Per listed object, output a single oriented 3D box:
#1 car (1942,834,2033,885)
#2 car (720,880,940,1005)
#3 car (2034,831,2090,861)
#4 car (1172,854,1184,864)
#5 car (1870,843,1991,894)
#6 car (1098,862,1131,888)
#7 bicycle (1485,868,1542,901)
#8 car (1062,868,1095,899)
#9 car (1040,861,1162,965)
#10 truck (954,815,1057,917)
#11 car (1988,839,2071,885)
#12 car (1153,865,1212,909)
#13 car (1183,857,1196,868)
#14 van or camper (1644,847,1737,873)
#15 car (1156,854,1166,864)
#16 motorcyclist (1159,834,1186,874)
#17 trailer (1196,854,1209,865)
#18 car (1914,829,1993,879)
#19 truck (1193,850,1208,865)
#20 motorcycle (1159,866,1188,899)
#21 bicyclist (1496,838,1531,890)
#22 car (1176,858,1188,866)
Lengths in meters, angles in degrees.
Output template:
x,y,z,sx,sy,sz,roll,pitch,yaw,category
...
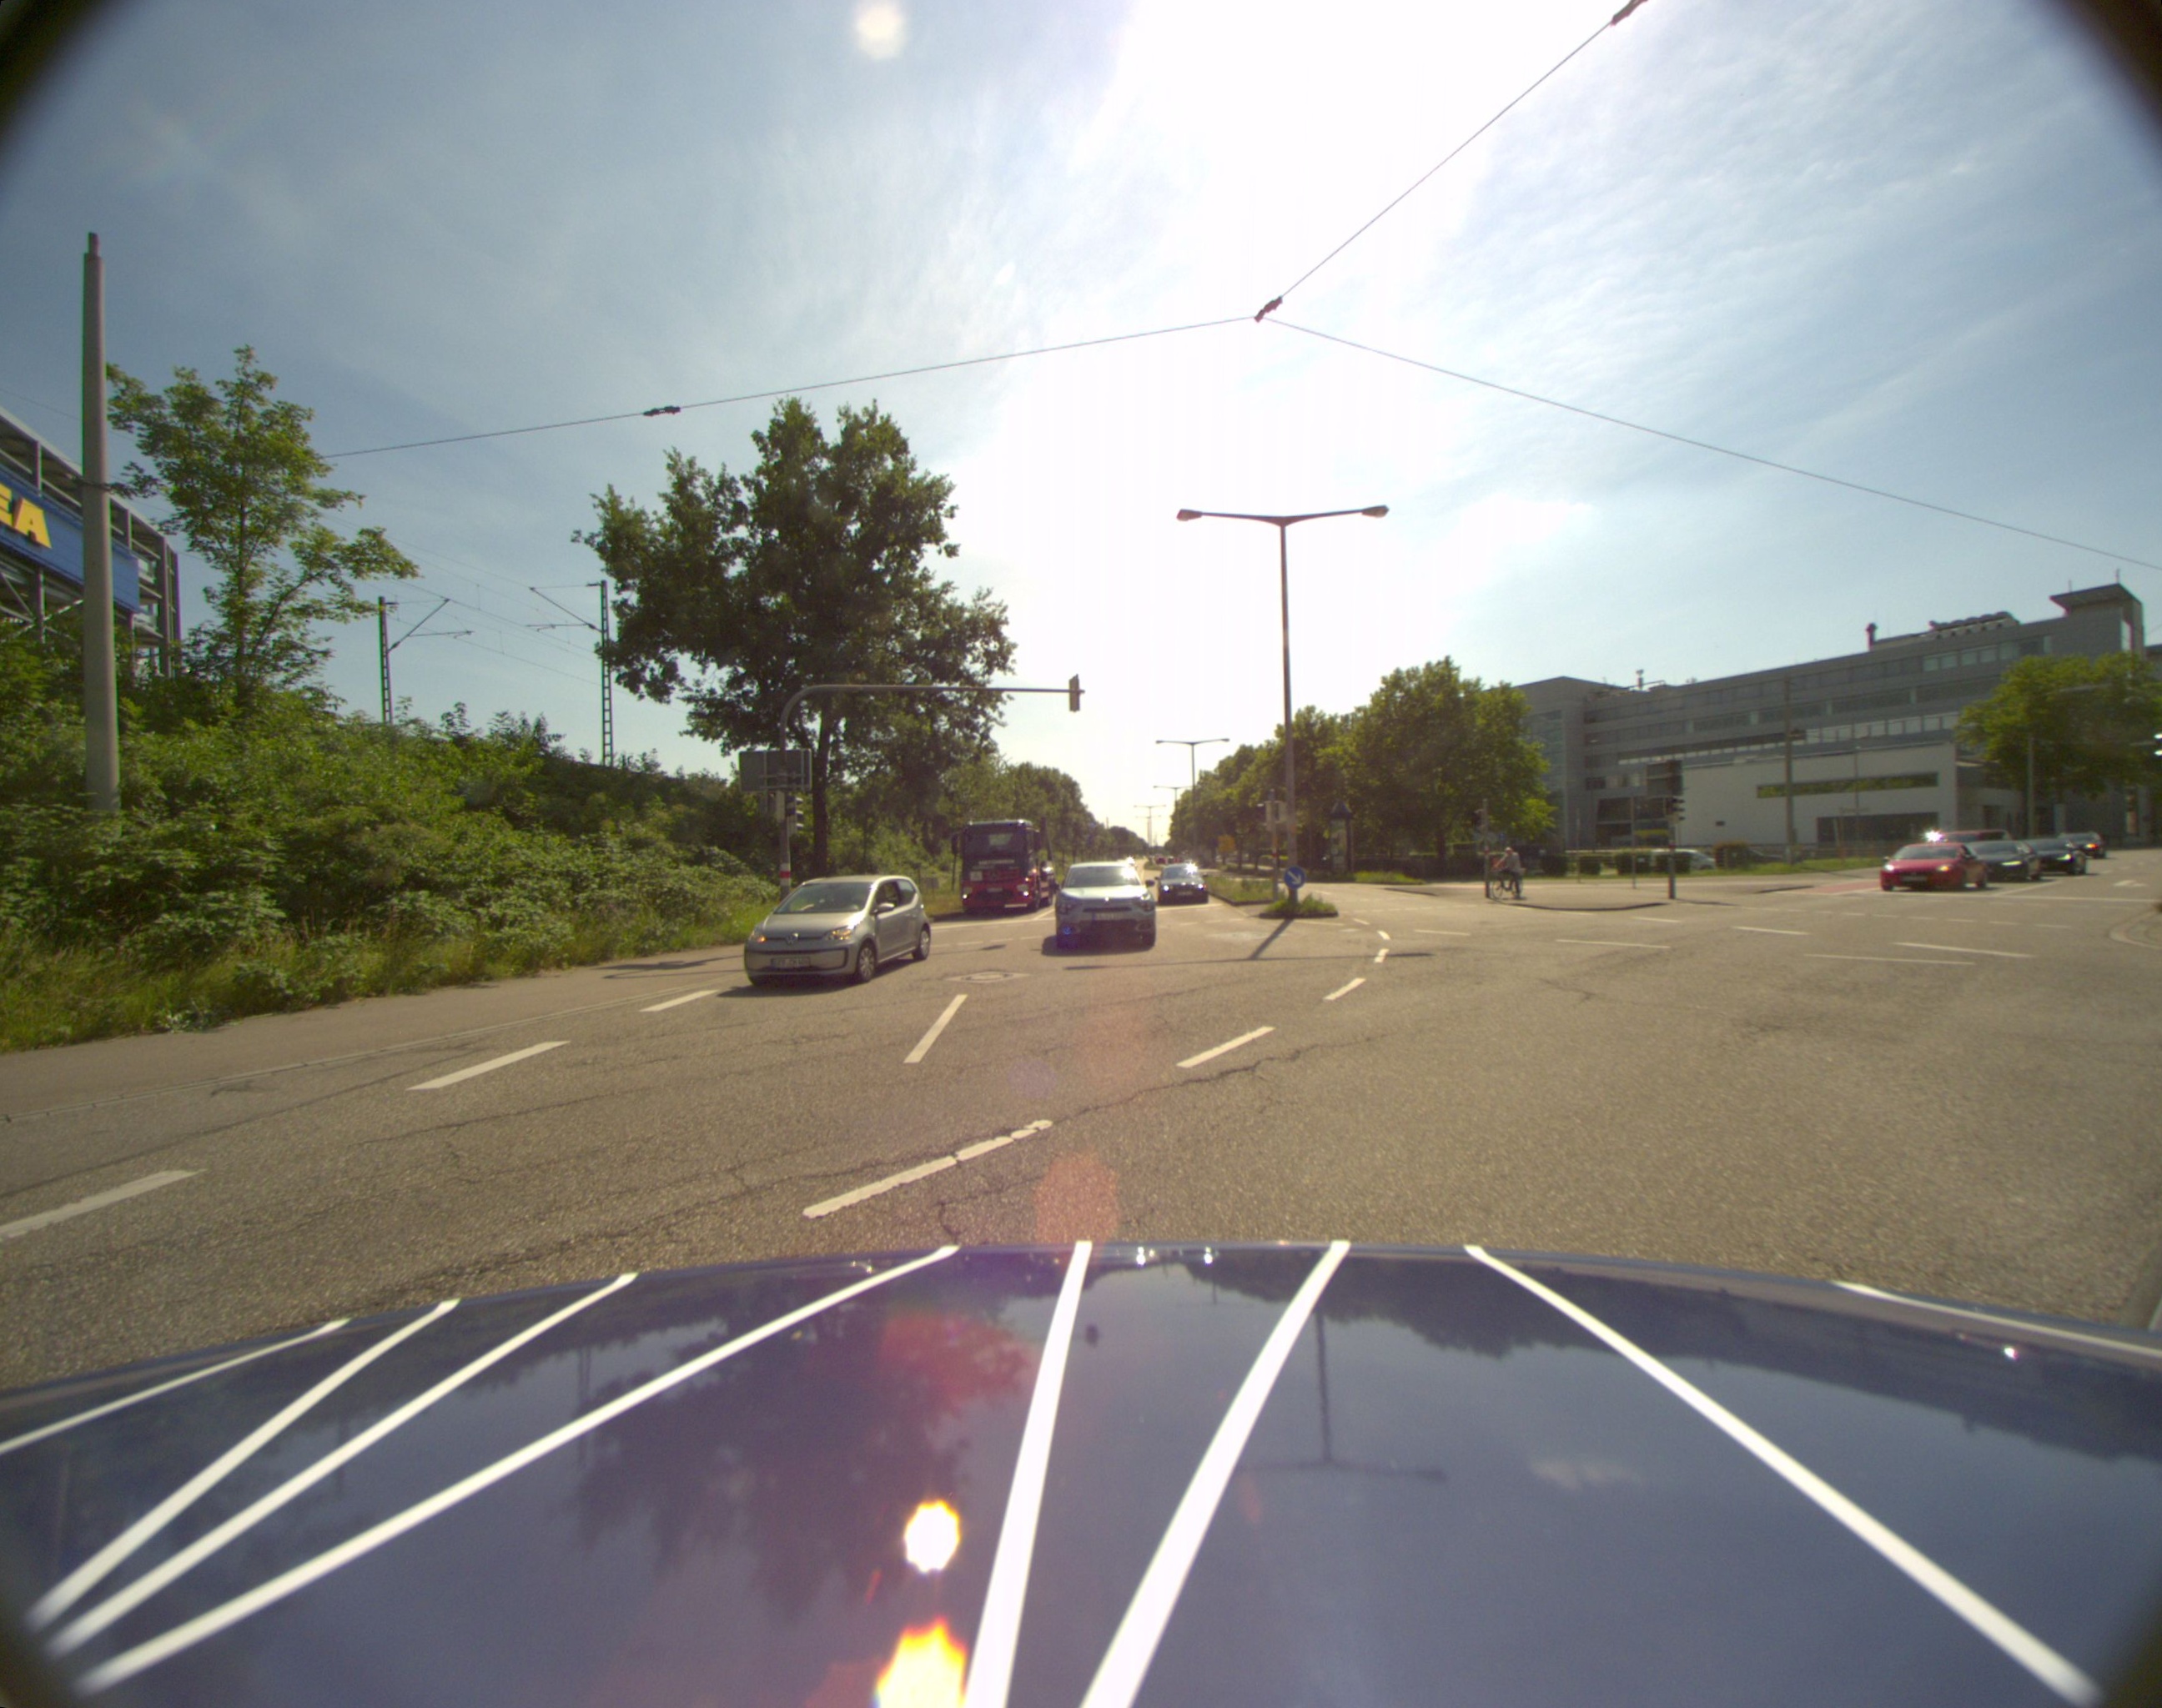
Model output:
x,y,z,sx,sy,sz,roll,pitch,yaw,category
32.646,0.171,27.339,4.007,1.689,1.995,-2,0,-39,car
-3.512,1.185,11.399,1.704,1.429,3.680,-2,0,6,car
58.665,-0.498,45.441,4.007,1.689,1.995,-1,0,-37,car
19.492,1.014,152.819,1.998,2.002,4.001,-2,0,4,car
26.789,0.419,23.945,4.006,1.441,1.843,-2,0,-32,car
2.230,1.358,49.645,1.825,1.521,4.549,-2,0,5,car
15.073,1.052,26.464,2.168,1.058,0.524,-2,0,-25,bicycle
-0.133,2.045,54.093,1.998,2.002,4.001,-2,0,4,car
0.522,0.940,14.019,1.825,1.521,4.754,-2,0,5,car
-2.557,0.416,28.350,2.775,3.247,7.484,-2,0,2,truck
38.402,0.295,30.745,4.007,1.689,1.995,-2,0,-37,car
3.627,1.164,27.805,1.730,1.354,4.068,-3,0,3,car
16.000,1.274,111.955,1.653,1.505,3.737,-2,0,4,car
41.569,0.440,51.905,2.003,1.682,4.502,-2,0,-33,van or camper
17.192,1.110,163.537,1.998,2.002,4.001,-2,0,4,car
4.004,0.006,33.422,1.066,1.689,1.042,-2,0,3,motorcyclist
20.068,0.958,125.554,2.066,1.705,3.993,-2,0,8,trailer
42.230,-0.039,36.731,5.050,2.265,2.147,-2,0,-37,car
20.514,0.632,131.071,2.144,2.460,7.132,-2,0,6,truck
4.039,1.235,33.374,1.051,1.343,2.332,-2,0,3,motorcycle
15.069,0.346,26.470,0.769,1.778,0.704,-2,0,-25,bicyclist
18.284,1.387,137.911,1.852,1.426,3.767,-2,0,2,car
